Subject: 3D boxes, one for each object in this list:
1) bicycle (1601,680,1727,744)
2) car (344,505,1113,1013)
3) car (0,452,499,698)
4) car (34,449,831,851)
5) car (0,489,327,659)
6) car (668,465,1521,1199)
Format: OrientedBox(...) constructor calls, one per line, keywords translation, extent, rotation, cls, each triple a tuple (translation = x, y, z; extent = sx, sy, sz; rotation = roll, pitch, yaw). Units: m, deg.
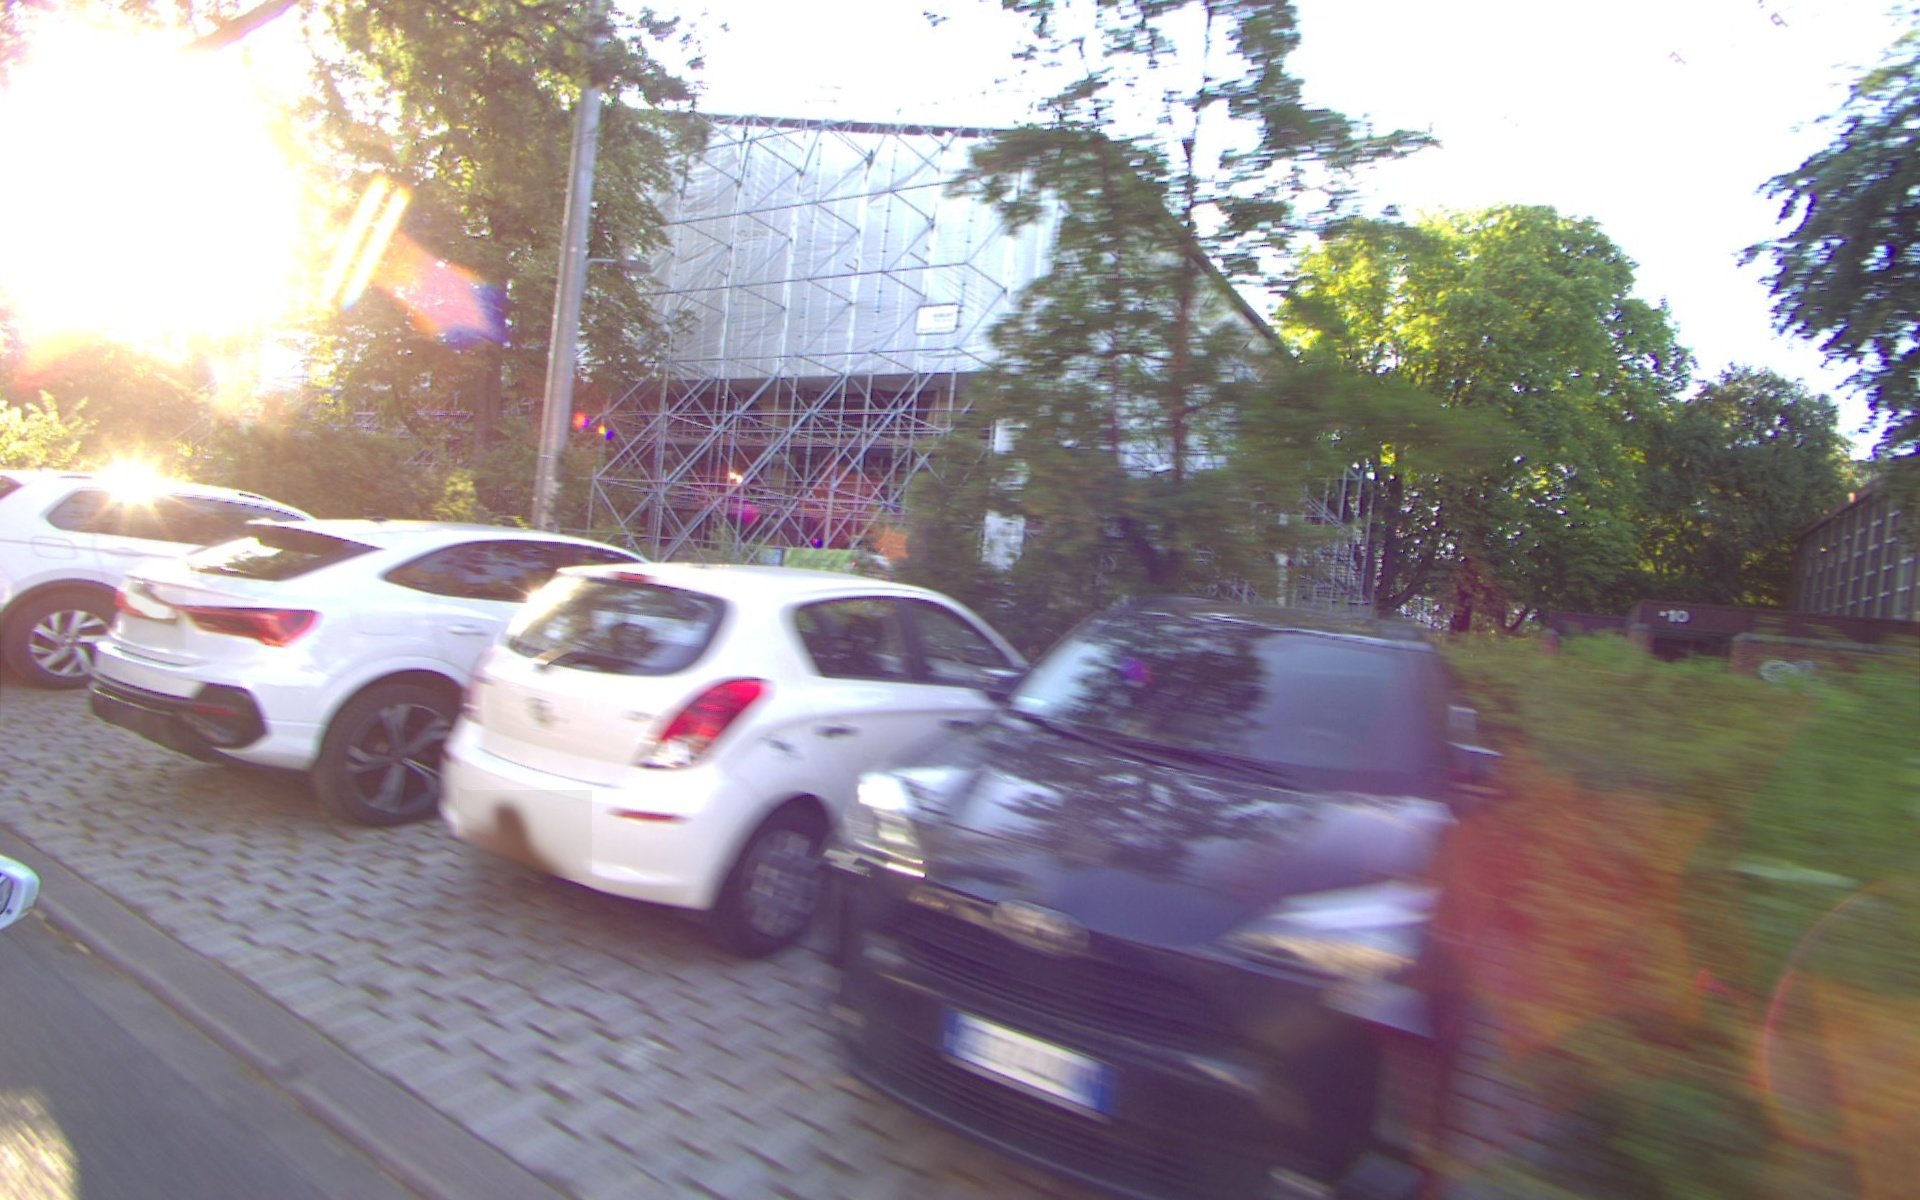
OrientedBox(translation=(16.955, 2.682, 24.310), extent=(2.349, 1.153, 0.647), rotation=(7, 1, 33), cls="bicycle")
OrientedBox(translation=(-0.815, 0.625, 5.275), extent=(1.788, 1.585, 3.594), rotation=(7, -1, 32), cls="car")
OrientedBox(translation=(-6.688, -0.133, 9.008), extent=(1.838, 1.730, 4.171), rotation=(7, -1, 36), cls="car")
OrientedBox(translation=(-2.880, 0.321, 6.469), extent=(1.694, 1.687, 4.128), rotation=(7, -1, 32), cls="car")
OrientedBox(translation=(-8.890, -0.247, 10.661), extent=(1.655, 1.511, 3.201), rotation=(7, -1, 24), cls="car")
OrientedBox(translation=(1.004, 0.702, 3.695), extent=(1.668, 1.613, 3.752), rotation=(7, -1, 30), cls="car")
